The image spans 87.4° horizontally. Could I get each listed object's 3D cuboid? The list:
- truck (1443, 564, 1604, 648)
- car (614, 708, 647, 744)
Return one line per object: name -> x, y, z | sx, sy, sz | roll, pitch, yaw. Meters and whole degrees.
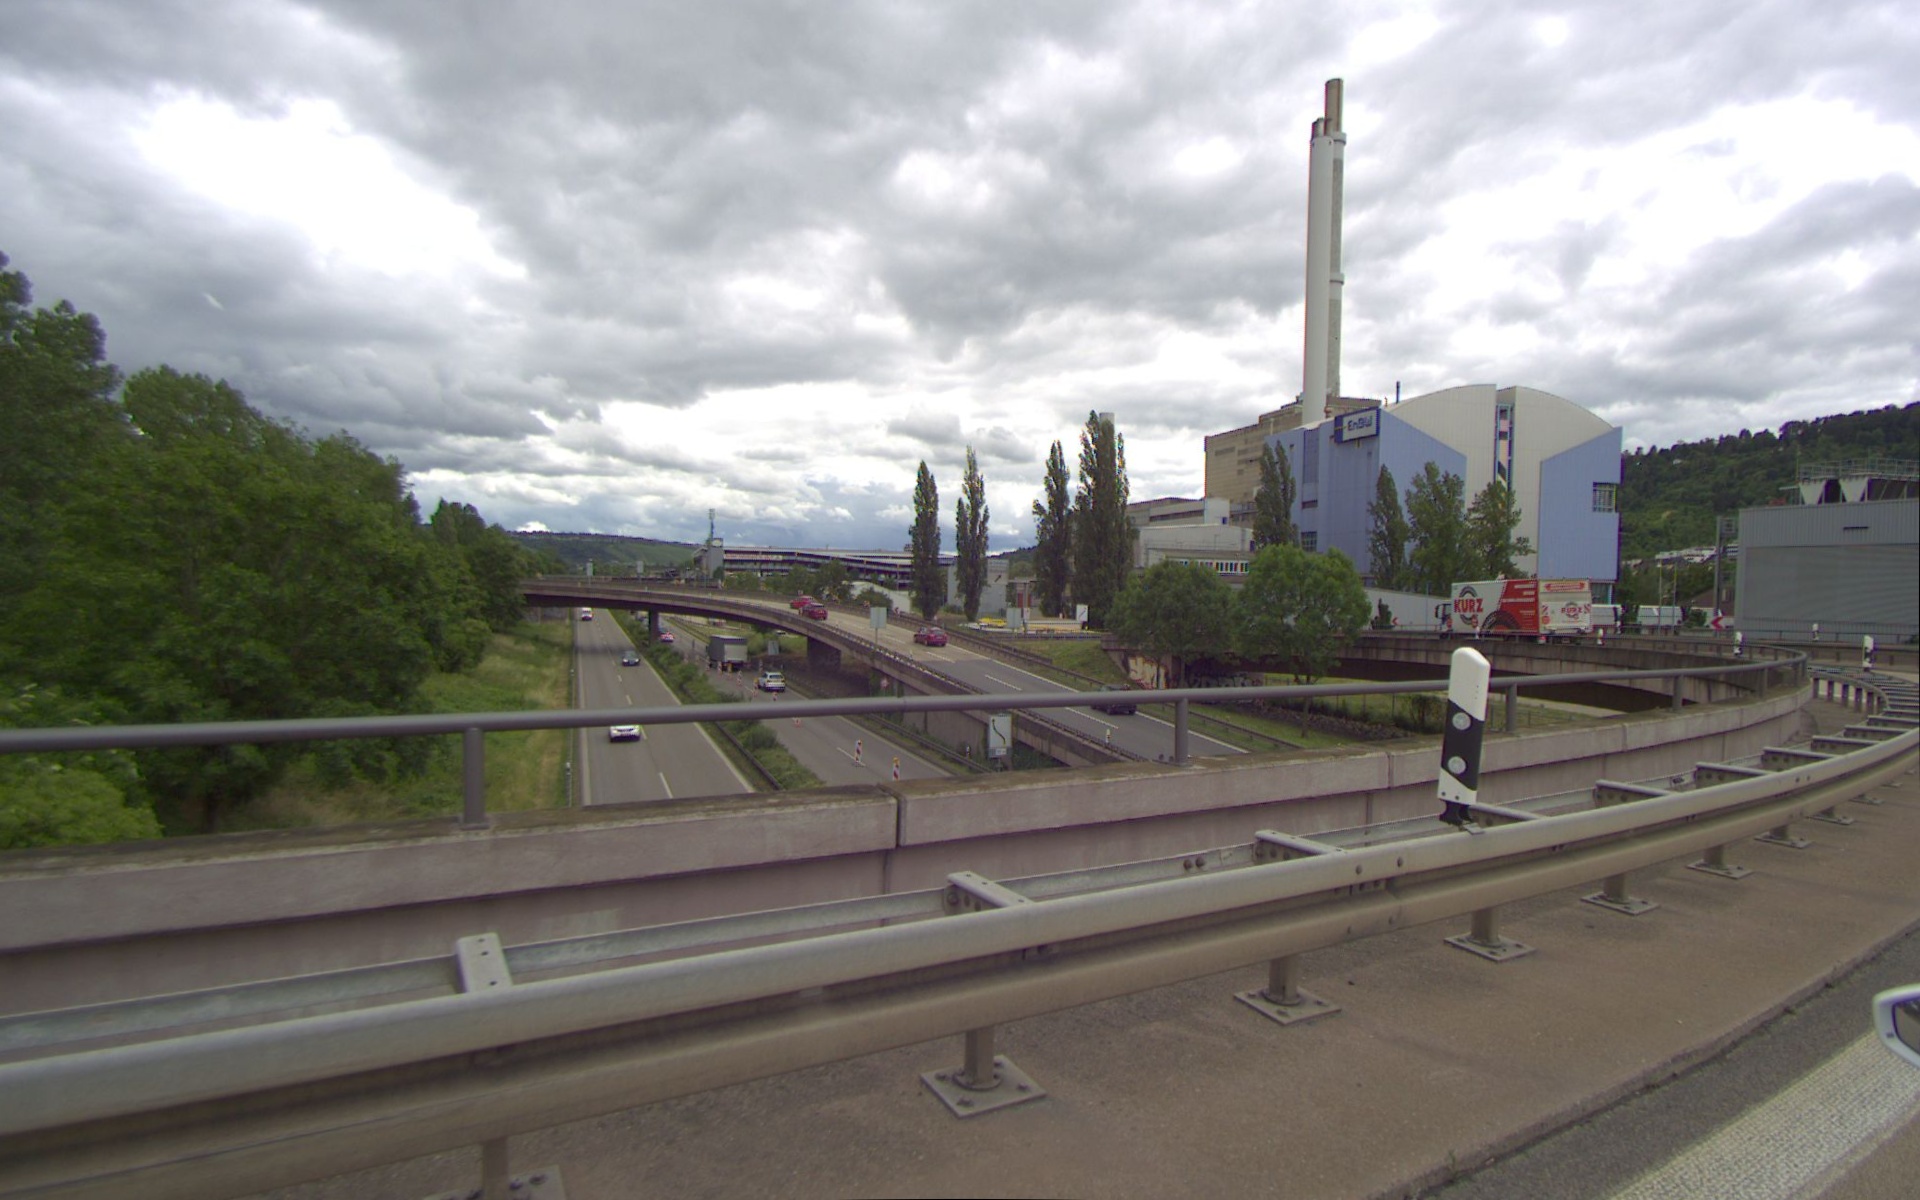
truck -> 27.421, 0.254, 49.414 | 3.002, 3.722, 7.922 | 1, 0, -4
car -> -20.521, 7.787, 62.522 | 1.841, 1.684, 3.983 | 1, 0, -19
